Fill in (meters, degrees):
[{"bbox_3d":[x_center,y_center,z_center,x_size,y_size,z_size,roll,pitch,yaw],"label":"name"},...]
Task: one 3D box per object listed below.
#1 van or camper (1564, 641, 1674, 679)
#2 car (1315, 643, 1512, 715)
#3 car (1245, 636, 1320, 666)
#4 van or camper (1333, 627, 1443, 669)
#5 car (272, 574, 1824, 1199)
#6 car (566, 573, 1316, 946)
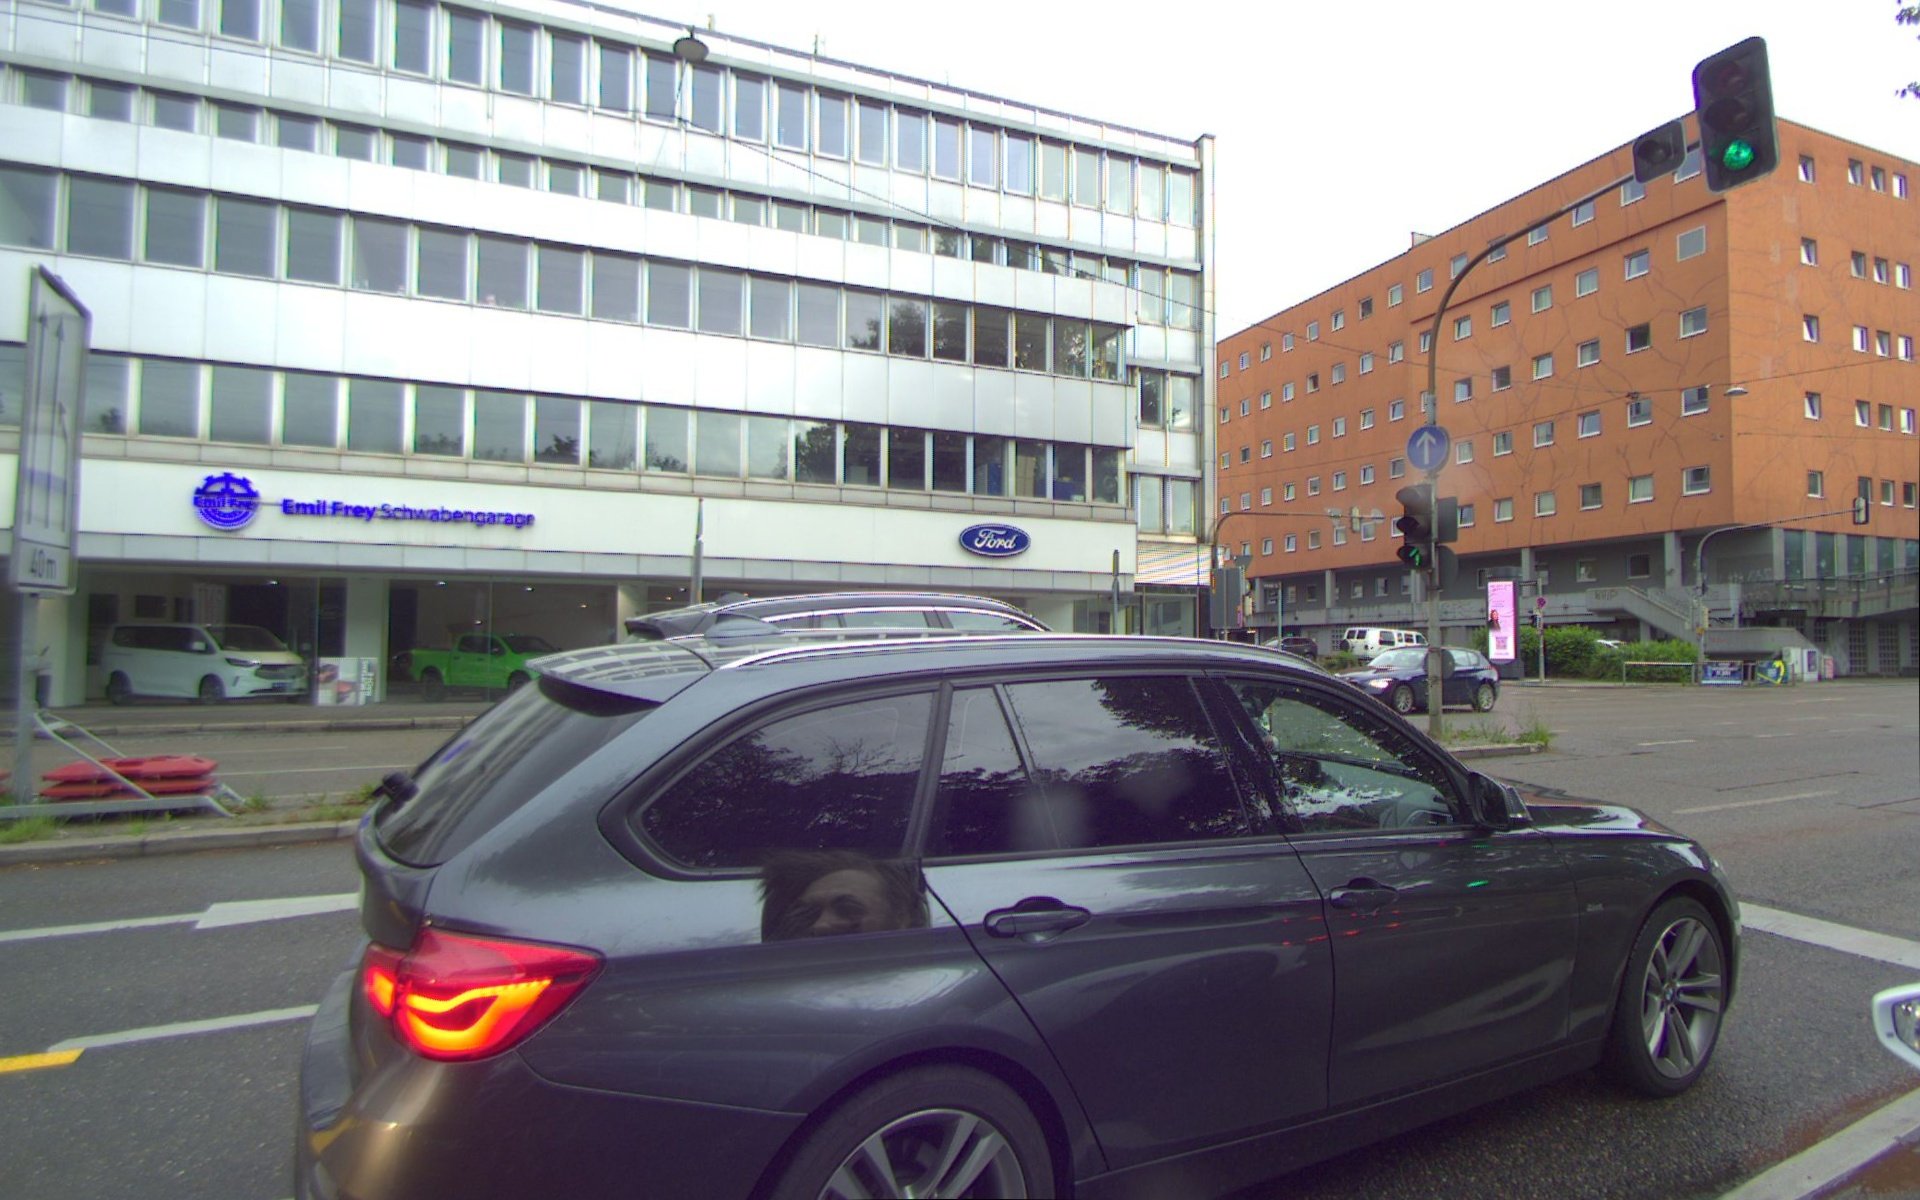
[{"bbox_3d":[30.989,2.784,47.360,1.887,1.648,3.978,1,-2,-23],"label":"van or camper"},{"bbox_3d":[9.823,1.666,21.710,4.161,1.437,1.680,2,-3,-27],"label":"car"},{"bbox_3d":[18.959,2.991,59.013,4.027,1.633,1.706,2,0,-23],"label":"car"},{"bbox_3d":[22.314,2.515,52.364,5.376,2.004,2.121,2,0,-23],"label":"van or camper"},{"bbox_3d":[0.624,0.796,3.151,4.424,1.477,1.769,2,-3,-30],"label":"car"},{"bbox_3d":[-0.035,0.773,6.348,4.389,1.678,1.802,2,0,-28],"label":"car"}]
